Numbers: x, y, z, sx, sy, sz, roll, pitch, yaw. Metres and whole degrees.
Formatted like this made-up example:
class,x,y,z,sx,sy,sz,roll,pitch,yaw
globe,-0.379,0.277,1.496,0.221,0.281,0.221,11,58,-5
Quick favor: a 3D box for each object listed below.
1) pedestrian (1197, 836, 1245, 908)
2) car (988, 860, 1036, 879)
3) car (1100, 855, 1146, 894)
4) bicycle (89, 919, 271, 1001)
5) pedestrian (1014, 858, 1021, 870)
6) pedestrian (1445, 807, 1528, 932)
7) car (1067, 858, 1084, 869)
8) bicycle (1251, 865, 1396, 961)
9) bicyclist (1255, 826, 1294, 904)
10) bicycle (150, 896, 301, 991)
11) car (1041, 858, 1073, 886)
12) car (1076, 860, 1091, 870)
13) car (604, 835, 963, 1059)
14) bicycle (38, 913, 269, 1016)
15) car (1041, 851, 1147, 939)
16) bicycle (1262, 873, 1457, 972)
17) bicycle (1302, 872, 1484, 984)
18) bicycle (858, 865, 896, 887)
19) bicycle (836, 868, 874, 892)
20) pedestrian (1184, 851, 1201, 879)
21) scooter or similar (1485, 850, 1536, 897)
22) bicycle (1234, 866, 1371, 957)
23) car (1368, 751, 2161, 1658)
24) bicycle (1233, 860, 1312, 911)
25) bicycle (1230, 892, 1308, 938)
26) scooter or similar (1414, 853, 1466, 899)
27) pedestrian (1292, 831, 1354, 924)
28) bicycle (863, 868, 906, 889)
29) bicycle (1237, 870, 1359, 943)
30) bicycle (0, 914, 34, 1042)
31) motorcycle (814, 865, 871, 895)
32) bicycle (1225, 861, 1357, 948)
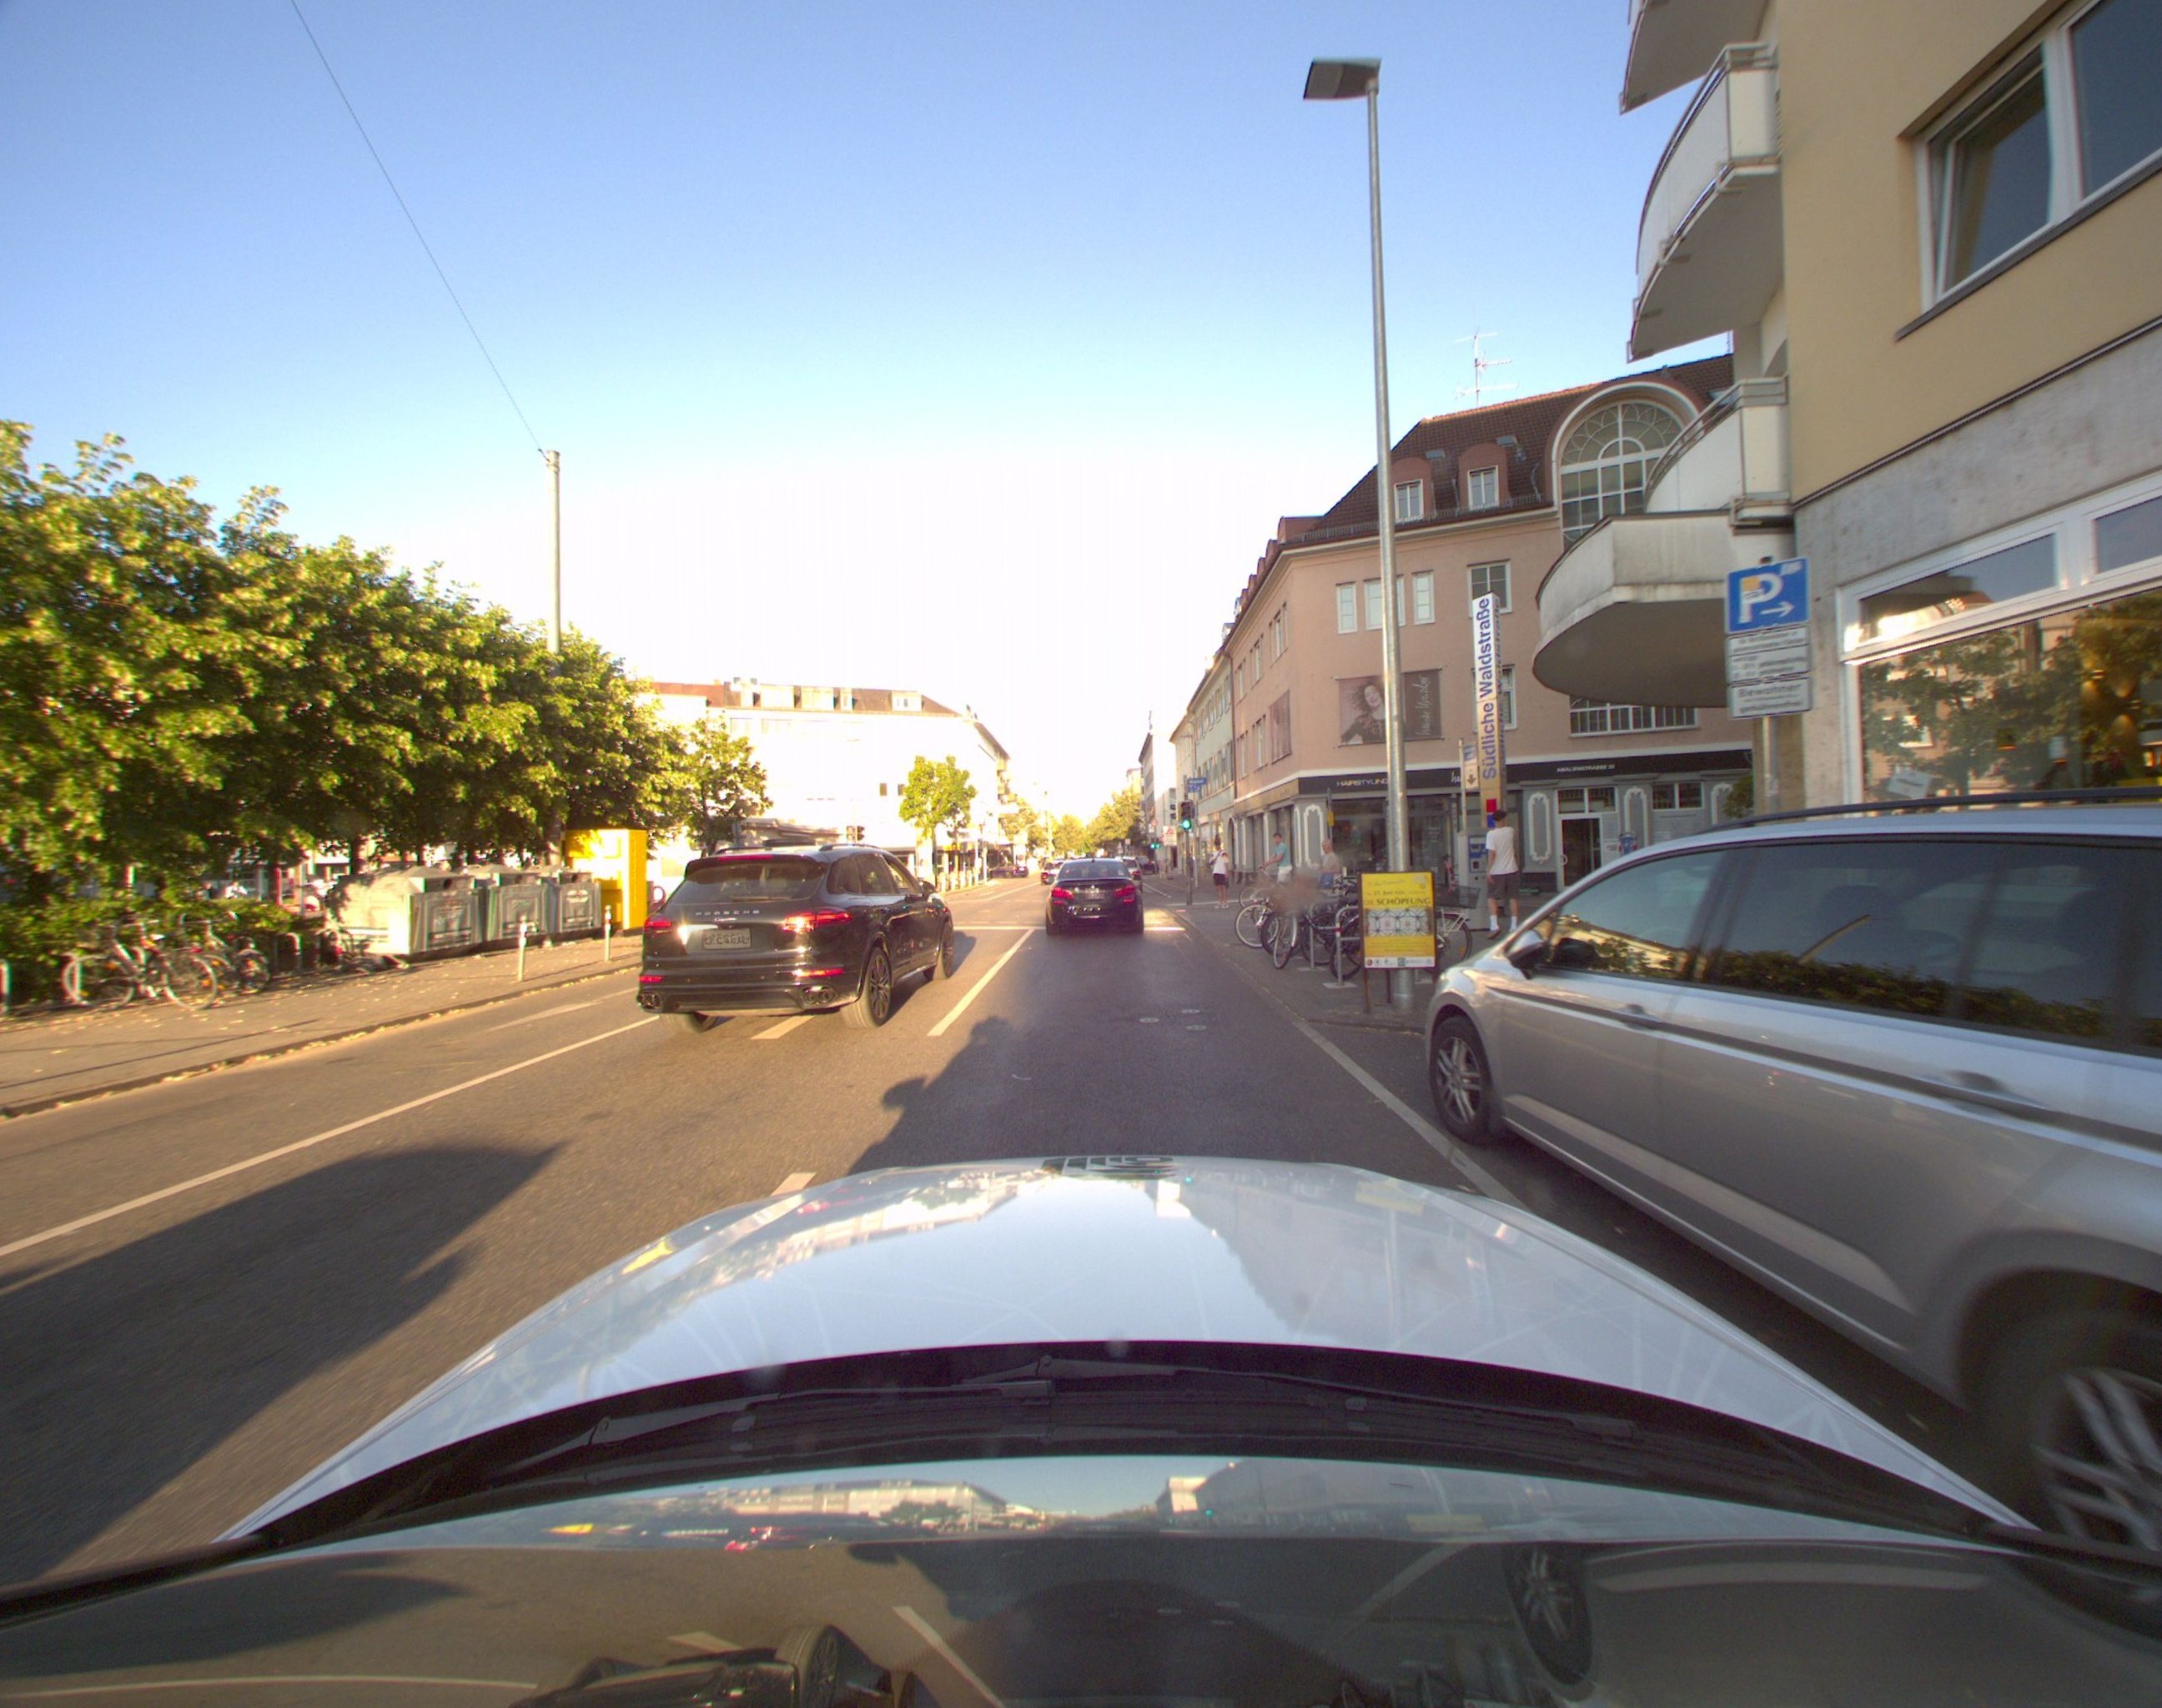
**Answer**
class,x,y,z,sx,sy,sz,roll,pitch,yaw
pedestrian,3.785,0.476,22.031,0.942,1.897,0.819,-1,-1,-23
car,-5.950,1.340,69.794,2.011,1.486,3.951,-1,0,-43
car,1.825,0.832,35.424,1.825,1.576,4.103,-1,0,3
bicycle,-11.638,1.356,10.546,1.669,0.979,0.548,0,0,-3
pedestrian,-9.167,1.395,117.499,0.820,1.676,0.871,-1,0,0
pedestrian,6.167,0.232,12.430,0.819,1.817,0.873,-2,-1,5
car,-0.723,1.244,107.579,1.990,1.442,3.994,-2,0,-4
bicycle,3.332,0.792,11.243,1.782,1.173,0.620,-3,0,-10
bicyclist,4.717,0.268,19.867,0.828,1.826,0.833,-2,-1,9
bicycle,-11.719,1.211,11.173,1.581,1.252,0.445,0,0,0
car,-1.426,1.078,50.274,1.867,1.595,4.448,-1,0,0
car,0.380,1.551,114.333,1.731,1.293,3.994,-2,0,-4
car,-2.708,0.743,8.758,1.941,1.714,4.564,-2,0,3
bicycle,-11.017,1.292,9.714,2.020,1.134,0.548,0,0,-3
car,0.248,0.744,16.990,1.897,1.540,4.449,-1,0,0
bicycle,3.480,0.832,10.288,2.166,1.075,0.804,-3,0,-6
bicycle,3.541,0.812,9.287,1.844,1.123,0.593,-3,-1,-10
bicycle,-12.357,1.349,49.393,1.997,1.256,0.950,-2,-1,2
bicycle,-12.428,1.434,44.846,1.846,1.256,0.633,-2,-1,2
pedestrian,6.627,0.648,48.466,0.821,1.642,0.871,-2,-1,-1
scooter or similar,11.801,0.533,22.403,1.189,1.260,0.366,-2,-1,27
bicycle,3.218,0.811,11.878,1.782,1.173,0.620,-3,0,-10
car,2.754,0.611,3.017,1.692,1.616,4.681,-1,0,0
bicycle,4.643,0.762,19.875,1.808,1.186,0.796,-2,-1,10
bicycle,3.262,1.045,14.216,1.004,0.681,1.047,-2,0,-8
scooter or similar,9.725,0.596,22.094,1.242,1.214,0.470,-2,-1,24
pedestrian,4.480,0.424,15.083,0.782,1.653,0.785,-2,-1,44
bicycle,-12.219,1.521,50.689,2.434,1.256,0.788,-2,-1,2
bicycle,3.599,0.847,13.556,1.782,1.063,0.716,-3,0,-10
bicycle,-11.758,1.250,8.037,2.020,1.252,0.548,0,0,-3
motorcycle,-12.186,1.308,41.630,2.571,1.429,0.868,-2,-1,2
bicycle,3.239,0.768,12.625,1.840,1.239,0.638,-2,0,-4
